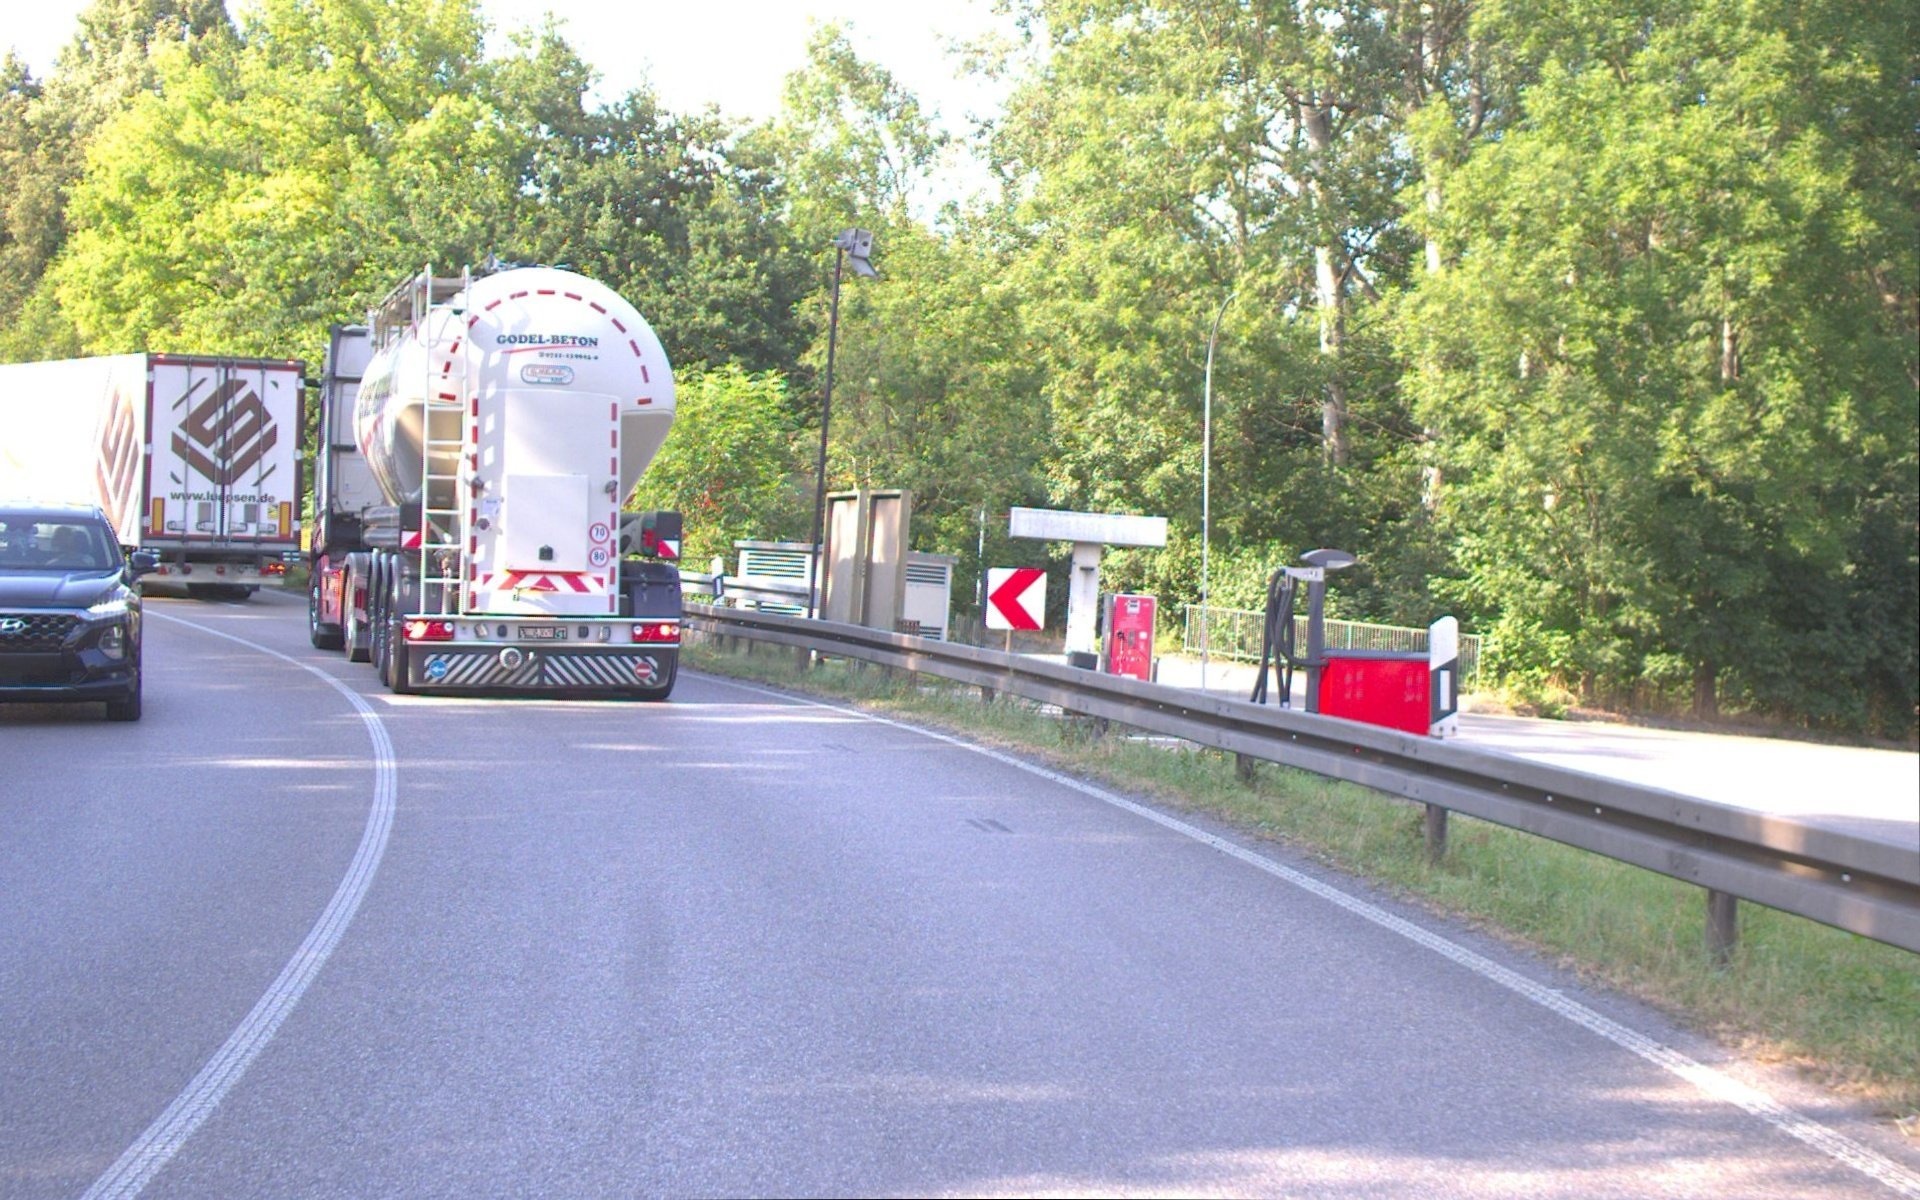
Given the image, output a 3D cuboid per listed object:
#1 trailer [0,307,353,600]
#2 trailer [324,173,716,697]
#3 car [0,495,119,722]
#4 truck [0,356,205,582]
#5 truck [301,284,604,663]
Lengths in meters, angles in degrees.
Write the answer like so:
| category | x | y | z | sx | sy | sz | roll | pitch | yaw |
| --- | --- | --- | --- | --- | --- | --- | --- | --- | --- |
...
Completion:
| category | x | y | z | sx | sy | sz | roll | pitch | yaw |
| --- | --- | --- | --- | --- | --- | --- | --- | --- | --- |
| trailer | -14.315 | -2.541 | 61.053 | 3.545 | 4.497 | 12.987 | 3 | 1 | -25 |
| trailer | -4.657 | -1.517 | 34.451 | 2.886 | 4.439 | 9.609 | 1 | 1 | -13 |
| car | -7.692 | -0.004 | 27.213 | 1.867 | 1.647 | 4.551 | 0 | 2 | -16 |
| truck | -17.497 | -2.563 | 67.778 | 3.449 | 4.072 | 6.492 | 3 | 1 | -26 |
| truck | -6.005 | -1.419 | 39.937 | 2.823 | 4.021 | 5.896 | 1 | 1 | -14 |
